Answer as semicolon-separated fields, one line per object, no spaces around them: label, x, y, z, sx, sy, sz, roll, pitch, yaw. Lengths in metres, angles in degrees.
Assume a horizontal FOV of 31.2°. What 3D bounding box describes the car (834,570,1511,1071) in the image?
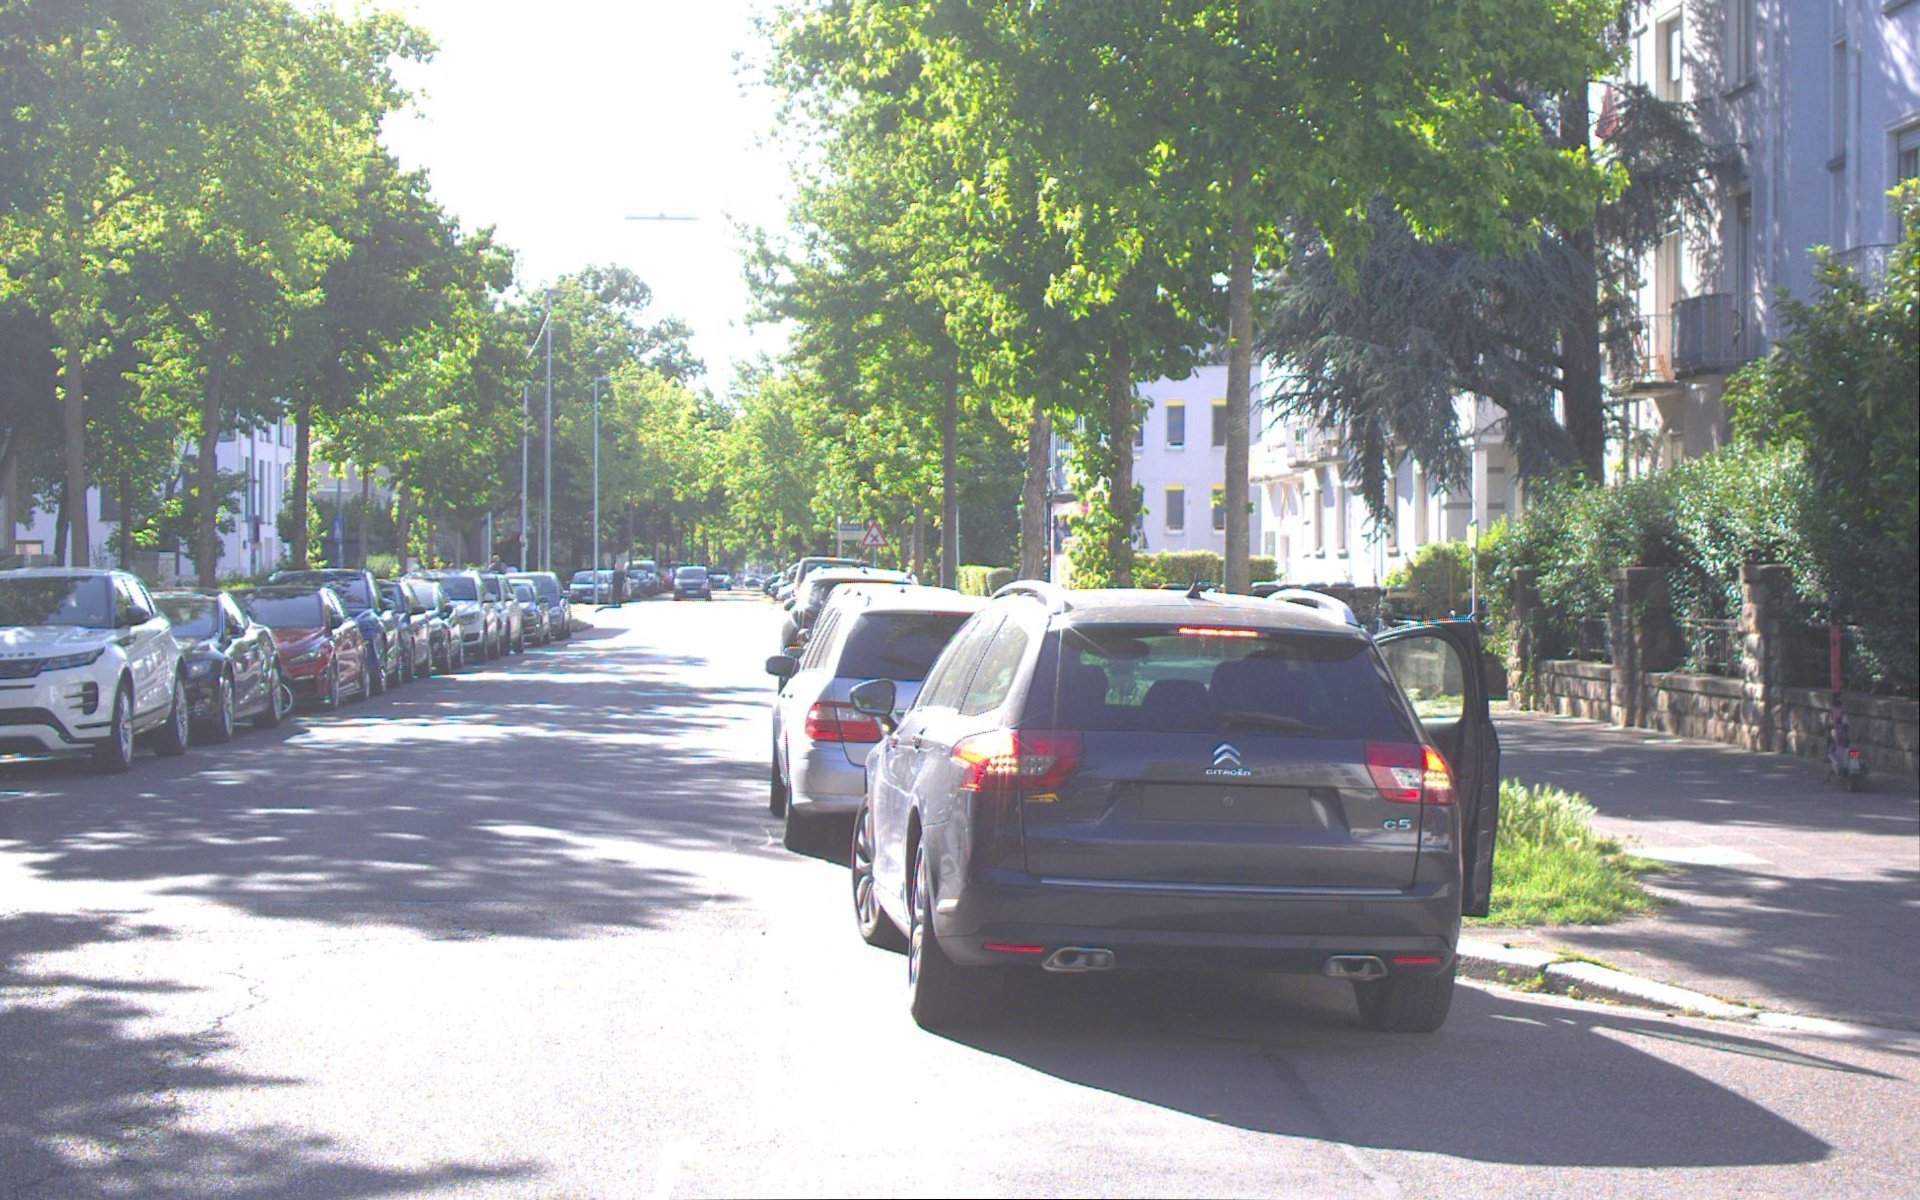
car;0.570;0.688;13.078;1.895;1.519;4.968;1;0;-4

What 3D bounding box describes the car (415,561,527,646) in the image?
car;-9.367;0.047;66.118;1.710;1.539;3.930;-2;1;-2

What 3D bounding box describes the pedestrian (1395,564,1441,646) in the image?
pedestrian;6.435;0.066;48.303;0.509;1.138;0.756;1;0;-1

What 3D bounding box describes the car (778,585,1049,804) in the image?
car;-0.444;0.635;25.850;1.710;1.406;4.862;2;1;-4

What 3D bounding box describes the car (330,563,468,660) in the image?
car;-8.917;0.160;54.862;1.761;1.439;3.909;-2;1;-4

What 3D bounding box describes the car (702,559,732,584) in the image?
car;-15.448;-1.816;218.686;1.894;1.555;4.001;0;1;-3

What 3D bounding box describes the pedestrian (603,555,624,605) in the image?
pedestrian;-13.423;-0.776;133.189;0.715;1.894;0.837;0;1;-12

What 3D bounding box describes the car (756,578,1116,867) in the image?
car;-0.271;0.641;20.862;1.821;1.464;4.910;2;1;-4

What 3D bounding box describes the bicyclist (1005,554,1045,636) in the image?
bicyclist;1.280;-0.096;67.556;0.677;1.604;0.922;0;0;-6

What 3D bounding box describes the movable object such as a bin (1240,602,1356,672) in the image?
movable object such as a bin;4.558;0.489;46.230;1.222;0.901;1.663;0;1;18

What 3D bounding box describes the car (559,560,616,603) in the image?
car;-14.593;-0.730;134.749;1.993;1.665;4.001;0;1;-3

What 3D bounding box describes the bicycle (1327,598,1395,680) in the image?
bicycle;4.975;0.469;42.737;0.581;0.971;1.903;0;1;-1

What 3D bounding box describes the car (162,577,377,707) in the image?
car;-7.981;0.450;40.075;1.779;1.374;4.263;-2;1;-2

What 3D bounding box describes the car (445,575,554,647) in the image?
car;-9.975;0.212;74.688;1.993;1.448;4.263;-2;1;-4

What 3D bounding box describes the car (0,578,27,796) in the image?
car;-7.160;0.638;21.196;1.728;1.442;4.821;-2;1;-4

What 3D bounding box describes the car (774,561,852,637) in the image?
car;-3.928;-0.051;91.260;1.970;1.942;4.986;0;1;-3

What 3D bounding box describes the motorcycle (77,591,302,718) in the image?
motorcycle;-8.221;0.572;36.700;2.285;1.266;0.808;-1;1;-13

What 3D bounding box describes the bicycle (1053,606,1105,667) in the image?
bicycle;2.324;0.706;67.488;0.683;1.149;2.403;0;1;-6

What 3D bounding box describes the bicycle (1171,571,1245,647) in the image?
bicycle;4.216;0.142;58.594;0.838;1.253;2.232;1;0;-6

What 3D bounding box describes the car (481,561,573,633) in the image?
car;-10.143;-0.086;80.756;1.839;1.589;4.263;-1;1;-4

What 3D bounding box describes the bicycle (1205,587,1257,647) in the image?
bicycle;4.423;0.266;56.201;0.595;0.954;1.904;0;1;-3

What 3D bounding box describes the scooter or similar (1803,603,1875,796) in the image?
scooter or similar;5.677;0.626;22.231;0.401;1.181;1.205;0;1;12

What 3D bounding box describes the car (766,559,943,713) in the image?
car;-1.243;0.372;41.138;1.925;1.646;5.095;2;1;-1

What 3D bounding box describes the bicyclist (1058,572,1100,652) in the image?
bicyclist;2.331;0.226;67.357;0.676;1.548;1.022;0;0;-6

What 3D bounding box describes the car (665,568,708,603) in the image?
car;-12.530;-0.680;157.552;1.782;1.603;4.001;0;1;-7

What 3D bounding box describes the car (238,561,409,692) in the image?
car;-8.308;0.306;45.183;1.789;1.561;4.466;-2;1;-6

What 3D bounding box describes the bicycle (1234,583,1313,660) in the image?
bicycle;4.693;0.311;51.660;0.803;1.111;2.000;1;0;-6

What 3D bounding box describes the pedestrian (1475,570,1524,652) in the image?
pedestrian;7.636;0.154;48.659;0.509;1.138;0.756;1;0;-4

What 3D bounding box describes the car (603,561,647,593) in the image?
car;-16.717;-1.163;171.770;1.993;1.579;4.001;0;1;-3

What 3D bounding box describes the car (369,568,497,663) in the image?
car;-9.216;0.246;60.396;1.811;1.590;4.233;0;1;-3

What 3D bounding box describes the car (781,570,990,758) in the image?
car;-0.745;0.537;31.569;1.654;1.527;3.970;3;0;-4

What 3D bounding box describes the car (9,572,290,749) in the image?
car;-7.705;0.522;33.091;1.728;1.472;4.620;-3;1;-3

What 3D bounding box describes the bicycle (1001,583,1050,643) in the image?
bicycle;1.276;0.238;67.608;0.683;1.149;2.403;0;1;-6

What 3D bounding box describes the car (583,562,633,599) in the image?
car;-15.346;-0.872;150.020;1.993;1.579;4.001;0;1;-3

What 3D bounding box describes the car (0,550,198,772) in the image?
car;-7.404;0.461;27.756;1.728;1.612;4.367;-3;1;-4
